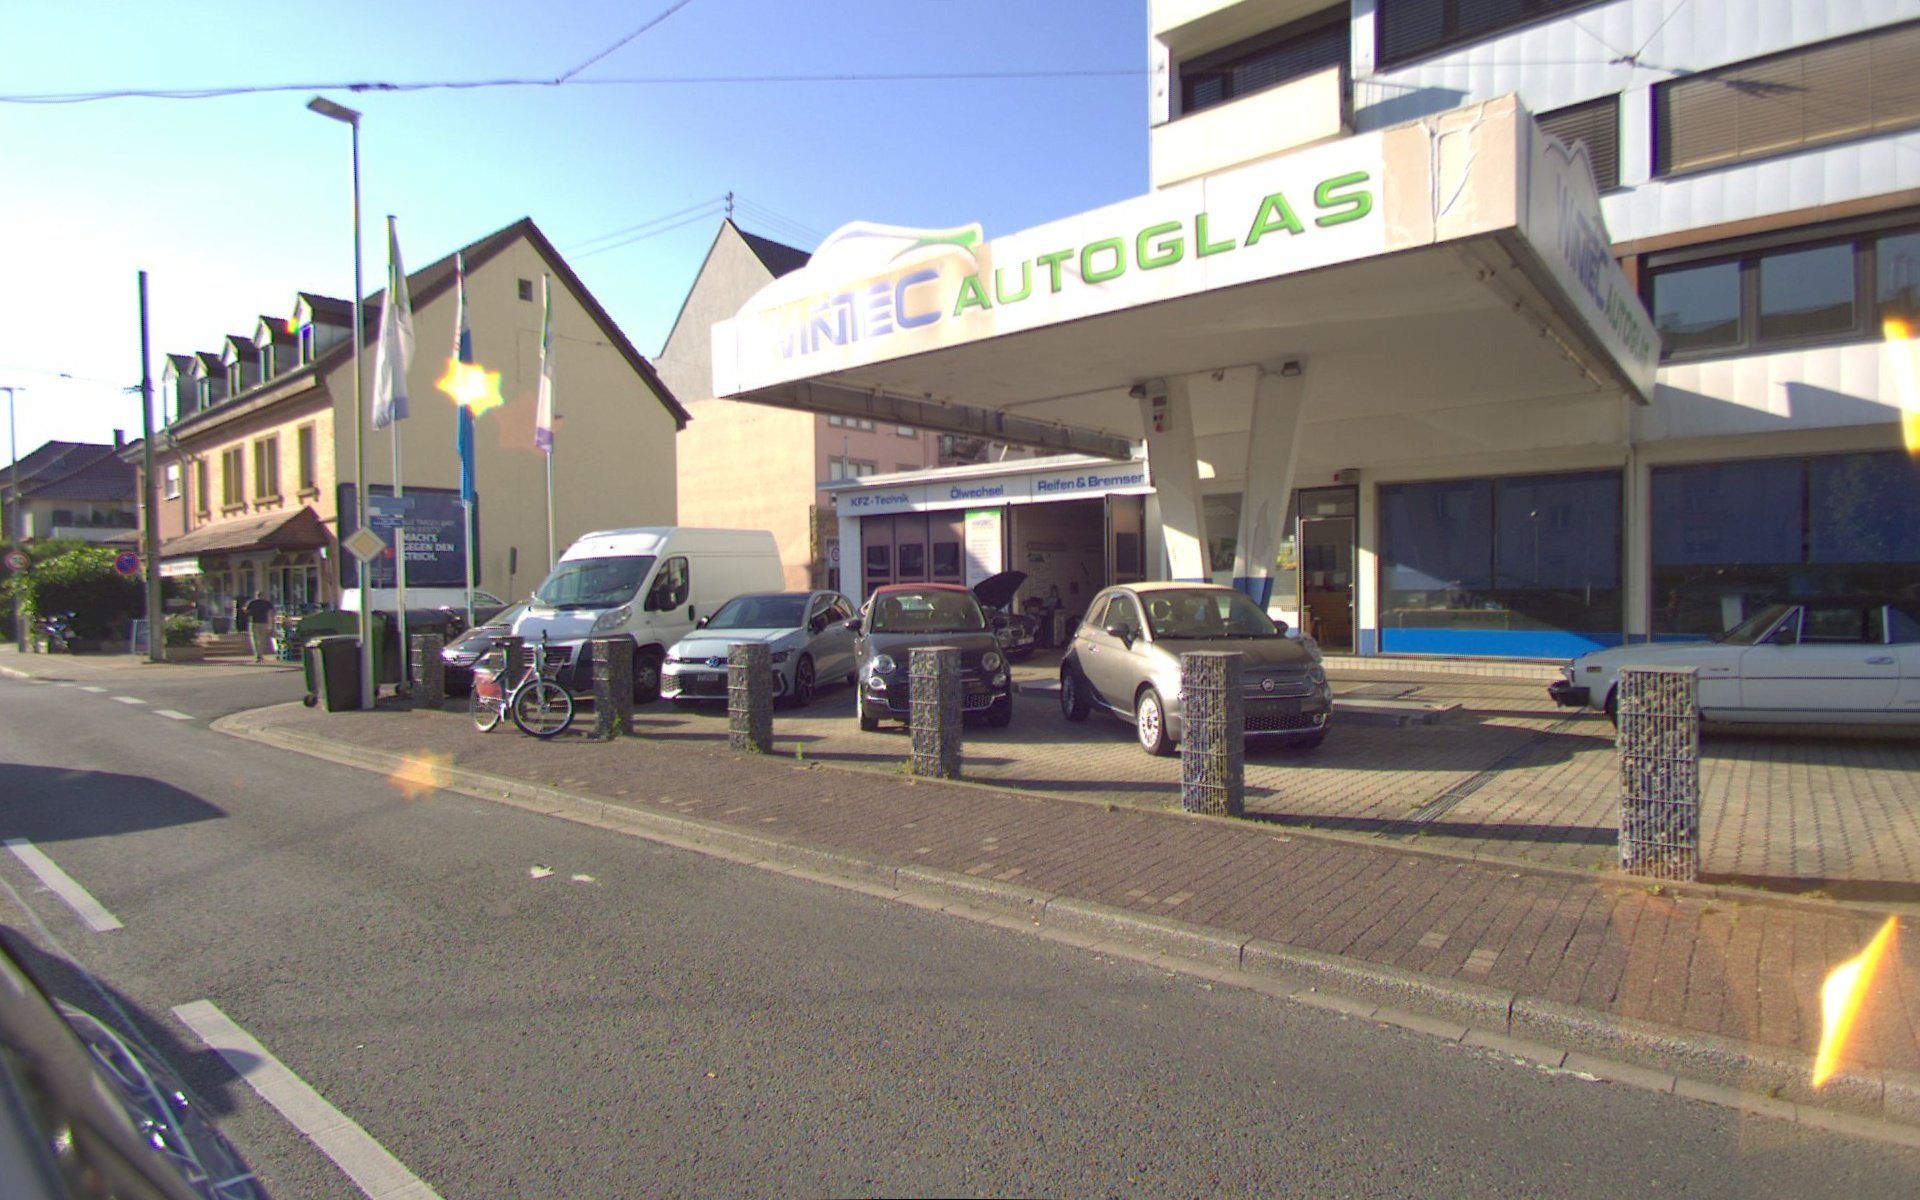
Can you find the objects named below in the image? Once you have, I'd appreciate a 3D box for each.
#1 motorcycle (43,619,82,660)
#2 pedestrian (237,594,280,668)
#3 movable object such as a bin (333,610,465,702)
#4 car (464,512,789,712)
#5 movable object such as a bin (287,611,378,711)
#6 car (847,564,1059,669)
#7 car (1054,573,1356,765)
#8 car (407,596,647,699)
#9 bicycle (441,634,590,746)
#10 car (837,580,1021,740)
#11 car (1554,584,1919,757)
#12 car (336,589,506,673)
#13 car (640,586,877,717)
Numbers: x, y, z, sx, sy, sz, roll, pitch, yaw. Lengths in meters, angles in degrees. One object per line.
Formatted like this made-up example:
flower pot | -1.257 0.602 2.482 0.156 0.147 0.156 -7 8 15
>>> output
motorcycle | -27.976 1.207 31.528 2.186 1.226 0.699 -1 0 43
pedestrian | -18.156 0.783 26.199 0.810 1.866 0.768 -1 0 -43
movable object such as a bin | -9.585 0.917 17.369 1.039 1.475 1.787 -1 0 15
car | -4.696 0.134 15.223 2.098 2.472 4.963 -1 0 18
movable object such as a bin | -9.715 0.919 15.713 1.030 1.475 0.798 -1 0 -18
car | -0.215 0.323 20.920 4.255 1.958 1.720 -1 0 40
car | 2.145 0.537 9.794 1.517 1.497 3.381 -1 0 -11
car | -7.071 0.706 17.008 1.725 1.488 4.016 -1 0 12
bicycle | -4.904 0.943 11.121 1.789 1.094 0.716 -1 1 37
car | -0.492 0.566 11.508 1.569 1.508 3.443 -1 0 -10
car | 7.377 0.544 8.571 3.898 1.308 1.506 -1 -1 37
car | -13.902 0.741 26.251 1.449 2.029 3.628 -1 0 37
car | -2.540 0.590 13.804 1.725 1.508 4.016 -1 0 12
